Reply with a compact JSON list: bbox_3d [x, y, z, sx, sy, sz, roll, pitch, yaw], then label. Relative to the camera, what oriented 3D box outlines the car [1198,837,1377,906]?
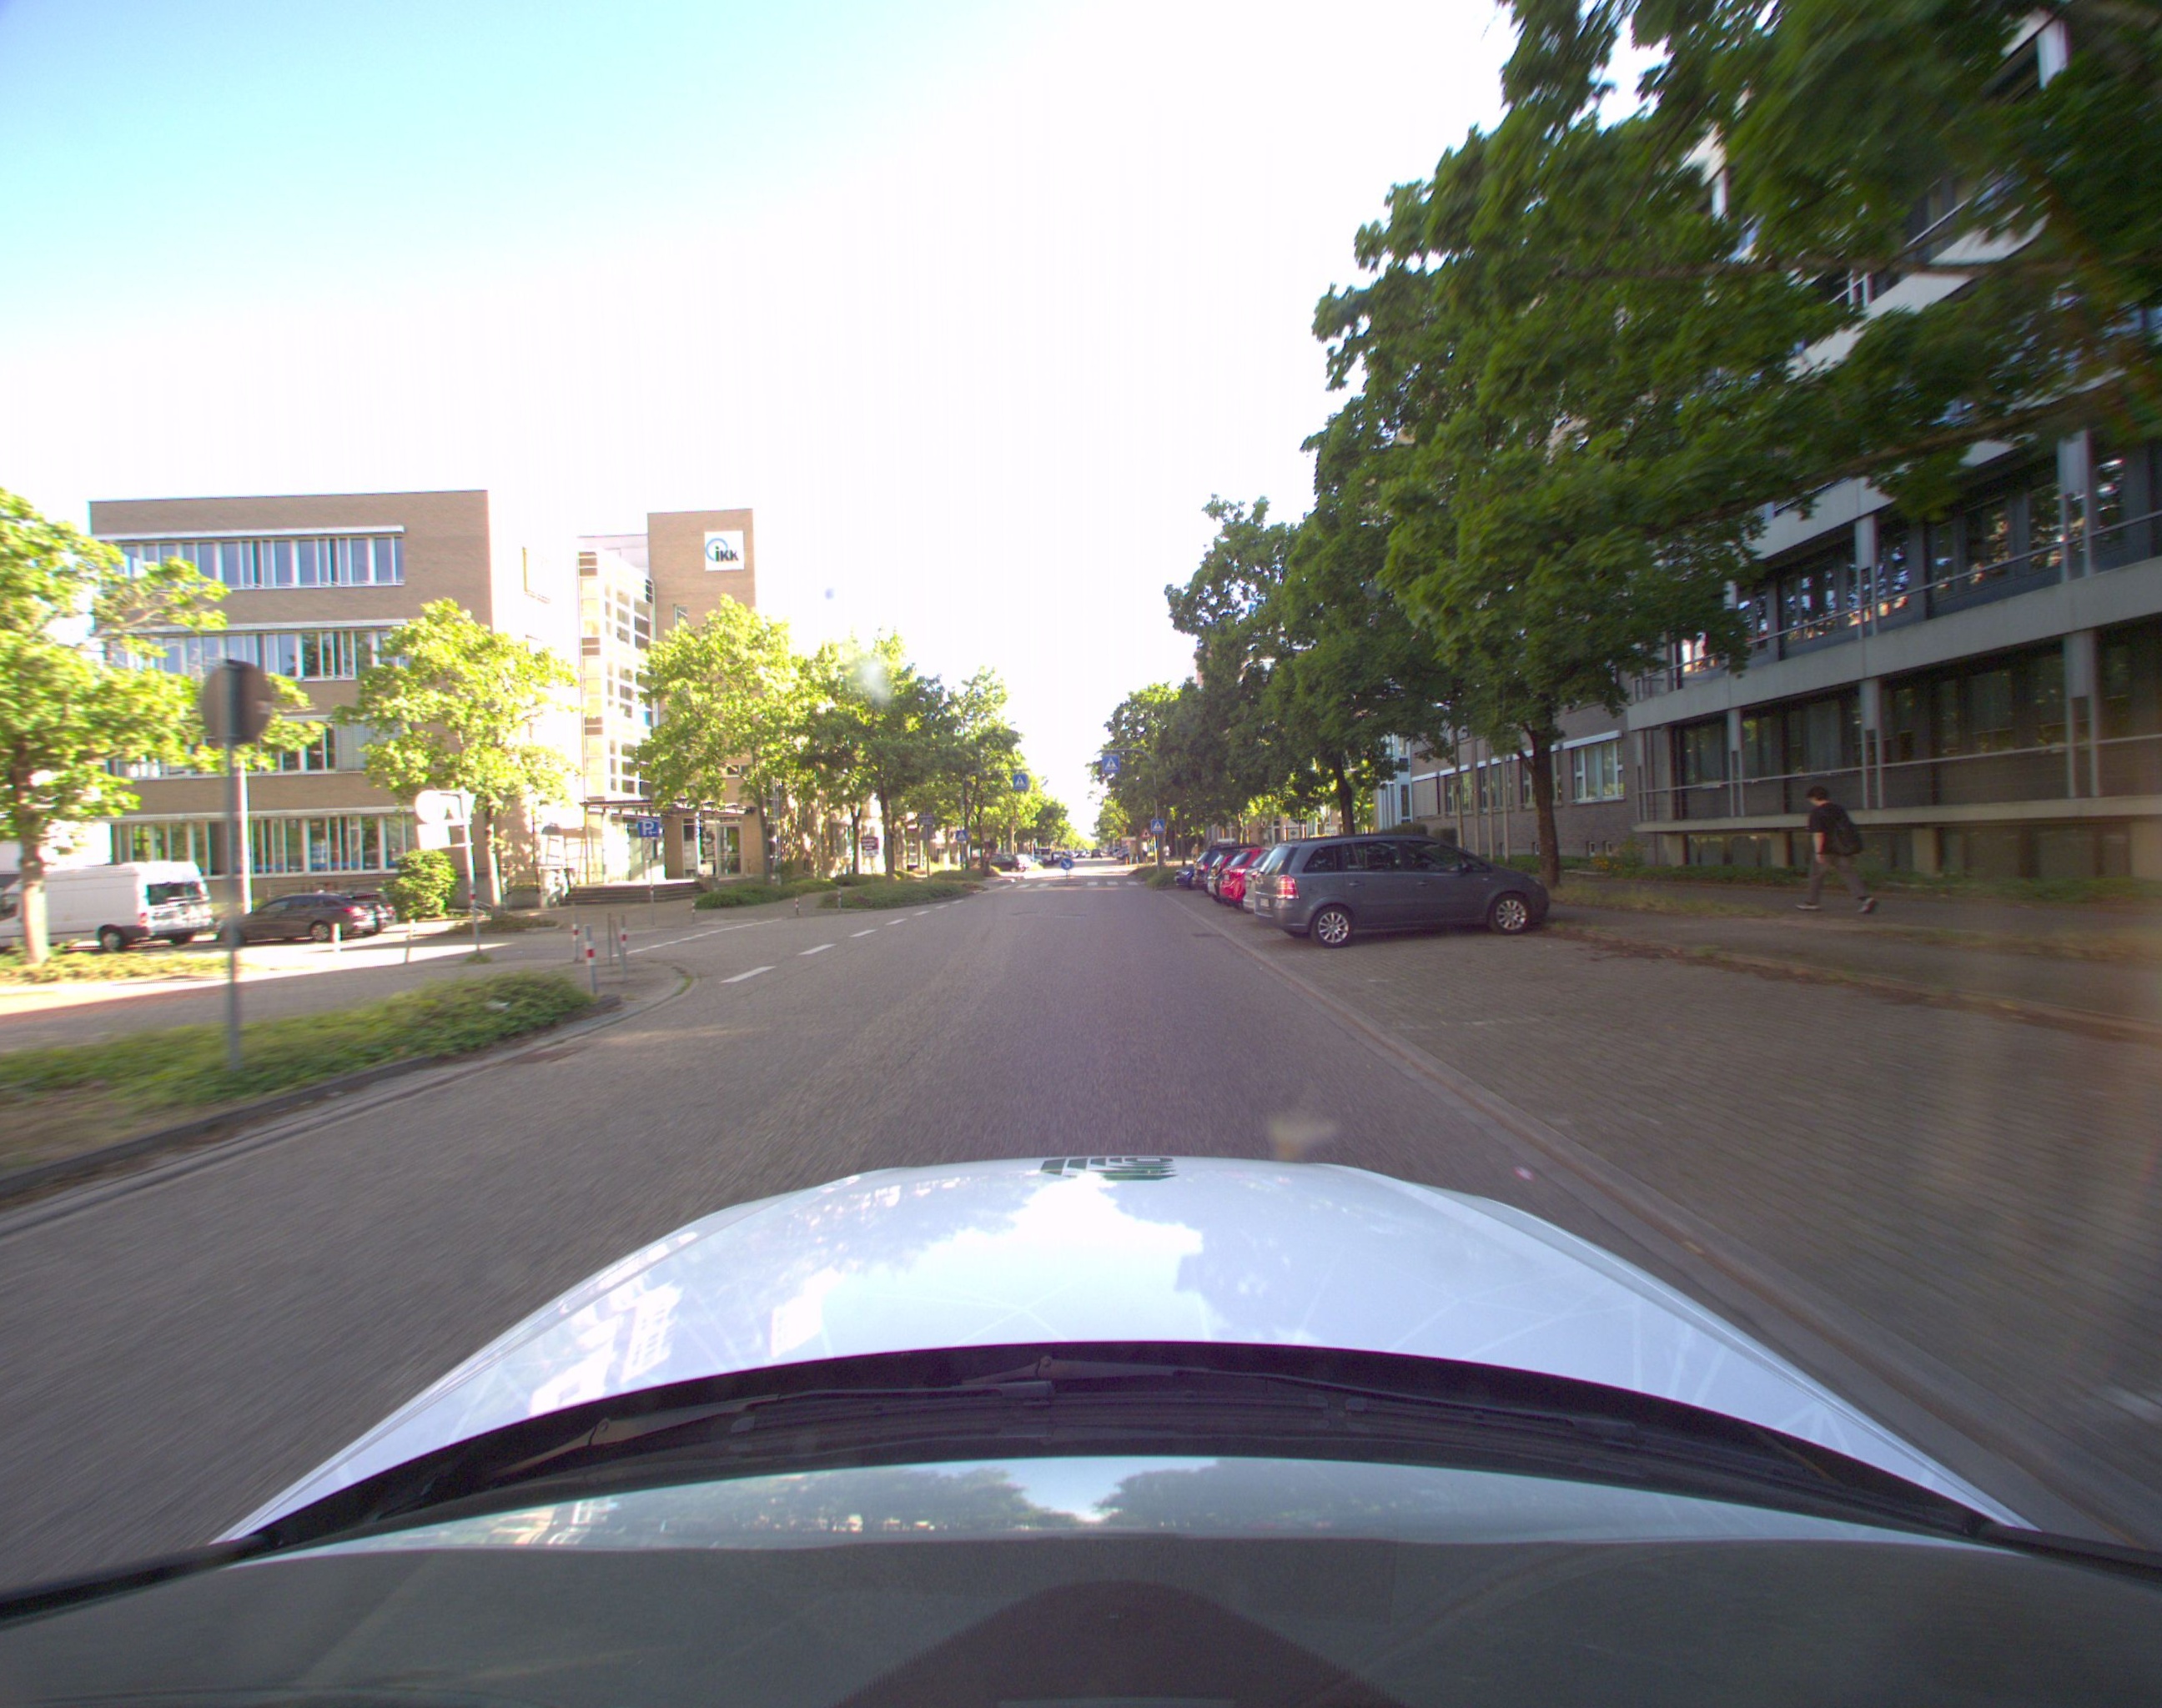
[{"bbox_3d":[5.380,0.440,21.580,4.180,1.448,1.811,-4,0,-2],"label":"car"}]

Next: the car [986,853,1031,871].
[{"bbox_3d":[-6.379,0.718,71.837,3.842,1.473,1.809,-1,0,-5],"label":"car"}]

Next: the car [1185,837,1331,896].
[{"bbox_3d":[5.621,0.386,26.179,4.180,1.536,1.811,-4,0,-2],"label":"car"}]

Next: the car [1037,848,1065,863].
[{"bbox_3d":[-4.508,0.280,122.005,3.975,2.013,1.999,-3,0,-1],"label":"car"}]

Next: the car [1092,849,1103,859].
[{"bbox_3d":[3.038,0.015,148.498,1.986,1.640,4.001,-1,0,1],"label":"car"}]

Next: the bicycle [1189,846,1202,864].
[{"bbox_3d":[8.404,0.052,59.732,0.679,1.214,1.983,-3,0,12],"label":"bicycle"}]

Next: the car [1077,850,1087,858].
[{"bbox_3d":[0.131,0.067,164.757,1.807,1.525,4.002,-3,0,2],"label":"car"}]

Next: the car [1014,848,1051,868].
[{"bbox_3d":[-5.619,0.458,94.976,3.968,2.013,2.003,-3,0,5],"label":"car"}]

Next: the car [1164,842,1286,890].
[{"bbox_3d":[5.386,0.450,30.853,4.180,1.473,1.811,-4,0,-2],"label":"car"}]

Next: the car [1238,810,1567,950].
[{"bbox_3d":[4.841,0.375,12.677,4.340,1.704,1.811,-4,0,-2],"label":"car"}]

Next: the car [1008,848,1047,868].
[{"bbox_3d":[-6.004,0.465,92.065,3.968,2.013,2.003,-3,0,5],"label":"car"}]

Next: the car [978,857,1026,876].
[{"bbox_3d":[-6.501,0.990,67.312,3.838,1.473,1.811,-1,0,-2],"label":"car"}]

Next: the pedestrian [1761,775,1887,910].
[{"bbox_3d":[10.272,-0.148,11.309,0.605,1.745,1.191,-3,0,1],"label":"pedestrian"}]

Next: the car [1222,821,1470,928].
[{"bbox_3d":[5.070,0.372,15.971,4.180,1.668,1.811,-4,0,-2],"label":"car"}]

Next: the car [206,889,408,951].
[{"bbox_3d":[-23.586,1.975,24.940,4.177,1.477,2.001,-3,1,1],"label":"car"}]

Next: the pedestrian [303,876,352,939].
[{"bbox_3d":[-25.059,1.774,27.091,0.782,2.013,0.811,-3,0,-7],"label":"pedestrian"}]

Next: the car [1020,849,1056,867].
[{"bbox_3d":[-5.106,0.458,97.547,3.968,2.013,2.003,-3,0,5],"label":"car"}]

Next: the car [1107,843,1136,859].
[{"bbox_3d":[5.769,-0.434,117.077,3.975,2.013,1.999,-3,0,-1],"label":"car"}]

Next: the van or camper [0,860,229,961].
[{"bbox_3d":[-30.206,1.699,25.108,5.351,2.674,2.181,-3,1,0],"label":"van or camper"}]

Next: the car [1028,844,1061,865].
[{"bbox_3d":[-4.603,0.067,102.871,3.967,2.541,1.865,-2,0,5],"label":"car"}]

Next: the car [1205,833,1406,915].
[{"bbox_3d":[5.207,0.443,19.270,4.180,1.536,1.811,-4,0,-2],"label":"car"}]

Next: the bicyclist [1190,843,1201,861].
[{"bbox_3d":[8.391,-0.153,59.721,0.693,1.214,0.948,-3,0,12],"label":"bicyclist"}]
